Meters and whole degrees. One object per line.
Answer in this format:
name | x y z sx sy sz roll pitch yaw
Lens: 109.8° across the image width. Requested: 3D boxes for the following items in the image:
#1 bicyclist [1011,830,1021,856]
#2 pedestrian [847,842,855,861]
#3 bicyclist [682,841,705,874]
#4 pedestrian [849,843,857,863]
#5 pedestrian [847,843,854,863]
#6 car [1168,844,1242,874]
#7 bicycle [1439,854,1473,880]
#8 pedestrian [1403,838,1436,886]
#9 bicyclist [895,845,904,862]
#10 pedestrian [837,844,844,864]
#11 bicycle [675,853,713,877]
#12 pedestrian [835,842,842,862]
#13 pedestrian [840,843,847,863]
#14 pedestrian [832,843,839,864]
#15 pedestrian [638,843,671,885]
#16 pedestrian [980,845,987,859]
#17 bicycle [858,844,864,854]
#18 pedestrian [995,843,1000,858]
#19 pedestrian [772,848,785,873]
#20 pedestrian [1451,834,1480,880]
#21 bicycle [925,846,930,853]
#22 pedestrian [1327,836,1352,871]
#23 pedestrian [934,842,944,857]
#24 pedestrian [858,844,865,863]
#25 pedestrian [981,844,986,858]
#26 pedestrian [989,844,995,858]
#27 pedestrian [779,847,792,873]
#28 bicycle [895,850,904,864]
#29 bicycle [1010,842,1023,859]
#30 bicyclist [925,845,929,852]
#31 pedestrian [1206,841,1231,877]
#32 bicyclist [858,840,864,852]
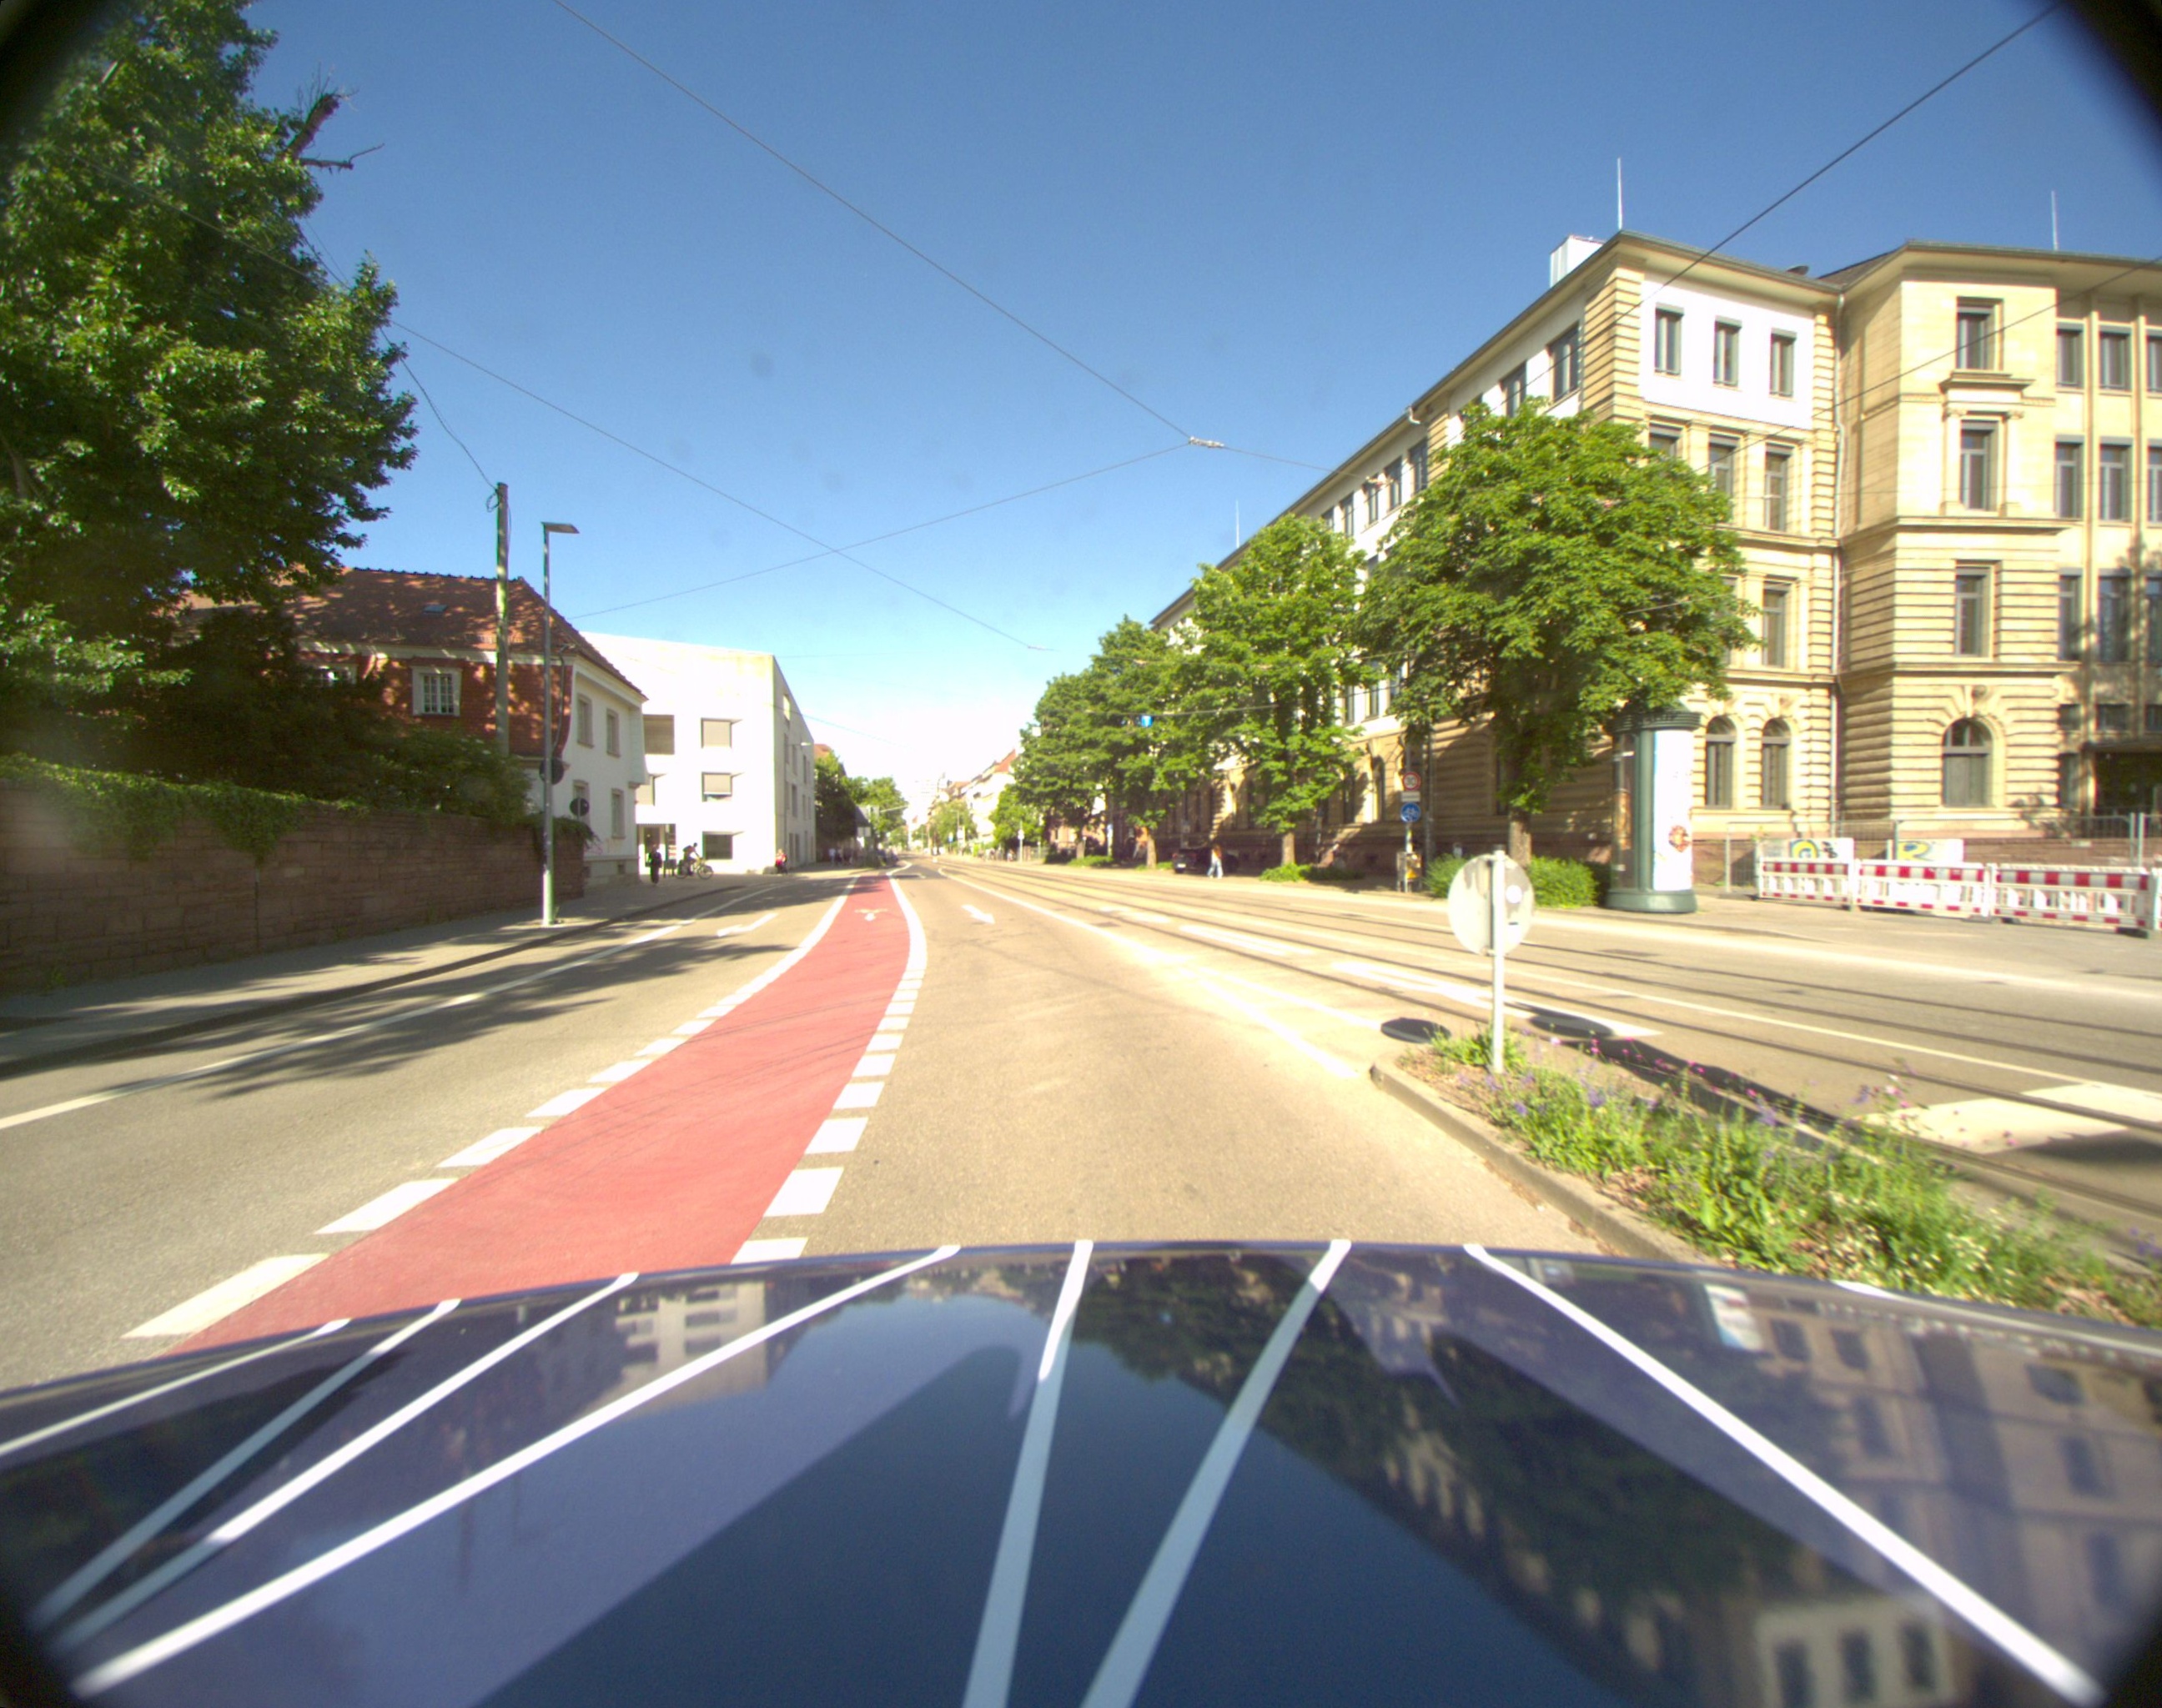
bicyclist | -7.636 -1.275 89.313 1.003 2.959 1.474 -2 2 2
pedestrian | -21.463 -0.253 70.918 0.588 1.796 0.544 -1 1 -15
bicyclist | -19.400 0.167 38.036 0.881 1.573 0.743 3 0 -33
pedestrian | -20.289 -0.069 67.600 0.588 1.796 0.519 -1 1 -15
pedestrian | -21.039 -0.129 69.450 0.588 1.796 0.582 -1 1 -15
car | 6.920 0.225 42.188 4.118 1.565 1.915 -1 1 -41
bicycle | 14.196 0.478 28.822 0.398 0.898 1.359 -2 2 -12
pedestrian | 11.894 0.269 26.731 0.729 1.660 0.845 0 4 -4
bicyclist | -15.915 -0.059 66.522 0.666 1.453 0.621 -2 3 -10
pedestrian | -22.382 0.014 70.678 0.588 1.796 0.544 -1 1 -15
bicycle | -19.381 0.555 38.063 1.602 1.145 0.743 3 0 -33
pedestrian | -22.028 -0.175 69.092 0.588 1.796 0.582 -1 1 -15
pedestrian | -21.082 -0.078 67.409 0.588 1.796 0.544 -1 1 -15
pedestrian | -21.743 -0.055 67.276 0.588 1.796 0.544 -1 1 -15
pedestrian | -17.412 0.404 31.045 0.941 1.668 0.952 2 1 -16
pedestrian | -12.462 -0.263 97.011 0.729 1.845 0.653 -1 1 -12
bicycle | -40.735 -0.914 140.857 0.831 1.694 2.168 -2 2 -12
pedestrian | -10.529 -0.405 95.736 0.579 1.845 0.684 -1 1 -14
pedestrian | -18.611 0.395 46.703 0.533 1.557 0.521 0 2 33
pedestrian | 13.171 0.098 26.042 0.579 1.553 0.653 -1 1 -14
bicycle | -39.746 -1.079 196.302 1.004 1.672 2.980 -2 2 -14
pedestrian | 12.215 -0.026 35.918 0.673 1.558 0.857 -5 3 -18
pedestrian | -16.721 -0.517 89.282 0.933 1.728 0.677 -1 2 -33
pedestrian | -19.705 -0.070 68.252 0.588 1.717 0.519 -1 1 -15
pedestrian | -12.434 -0.392 96.930 0.579 1.845 0.684 -1 1 -14
pedestrian | -11.168 -0.380 95.537 0.579 1.845 0.684 -1 1 -14
pedestrian | -18.068 0.385 46.426 0.533 1.557 0.521 0 2 33
bicycle | -15.909 0.243 66.554 0.666 1.146 1.670 -2 2 -10
bicycle | -7.598 -0.468 89.641 1.003 1.877 3.893 -2 2 3
bicyclist | -39.759 -1.436 196.280 1.004 1.712 0.983 -2 3 -14
pedestrian | 6.589 0.245 36.439 0.772 1.658 1.032 1 -3 -18
bicyclist | -40.749 -1.436 140.847 0.813 2.194 0.983 -2 3 -12
